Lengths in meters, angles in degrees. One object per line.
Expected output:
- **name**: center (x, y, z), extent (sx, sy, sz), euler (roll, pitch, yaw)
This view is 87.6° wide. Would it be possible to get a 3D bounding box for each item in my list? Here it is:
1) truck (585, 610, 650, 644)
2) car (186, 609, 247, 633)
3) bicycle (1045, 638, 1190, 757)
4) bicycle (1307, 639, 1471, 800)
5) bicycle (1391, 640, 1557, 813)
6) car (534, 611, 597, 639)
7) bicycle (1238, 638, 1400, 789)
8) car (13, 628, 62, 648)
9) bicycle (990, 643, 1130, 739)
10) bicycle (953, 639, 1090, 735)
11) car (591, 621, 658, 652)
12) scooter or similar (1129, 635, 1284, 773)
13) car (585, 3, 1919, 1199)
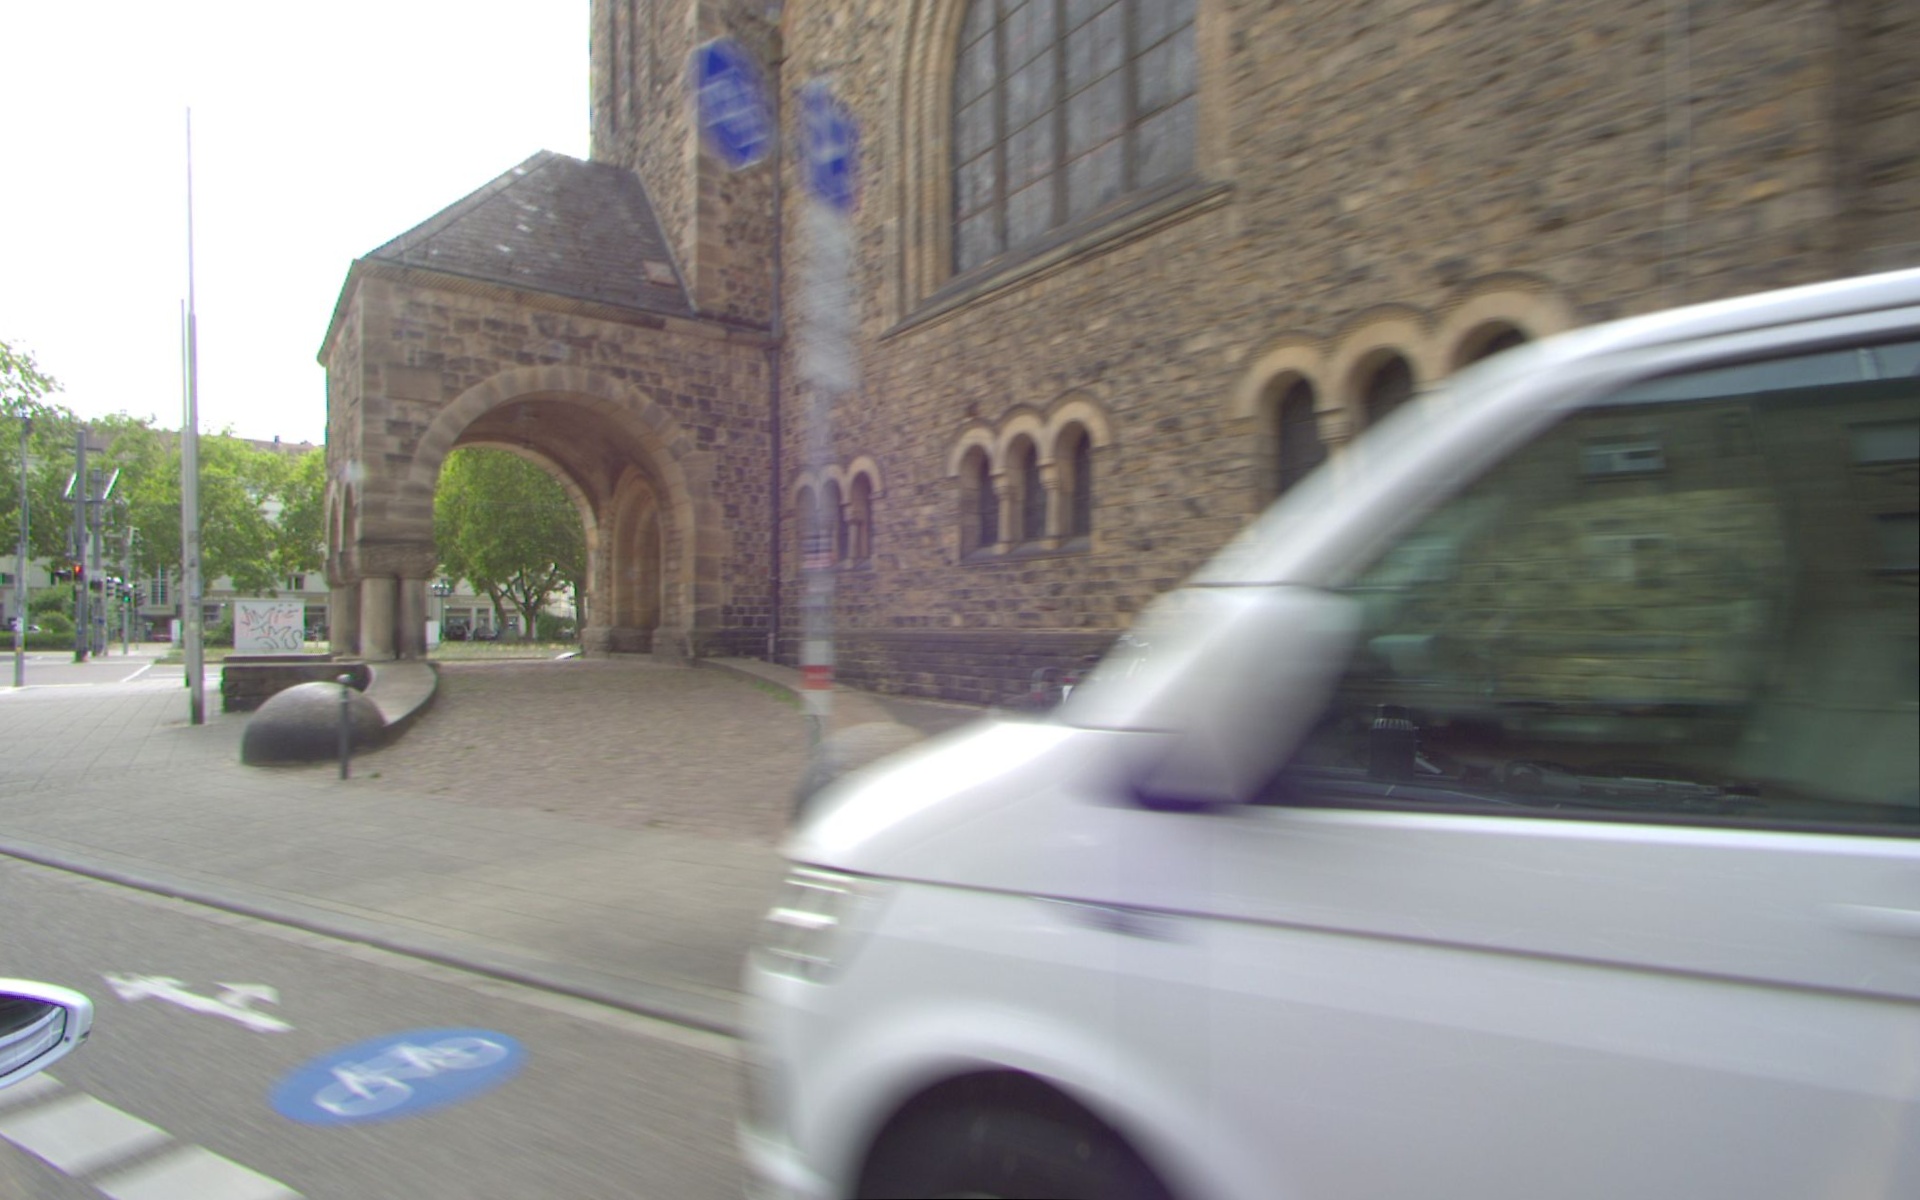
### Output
- **truck**: center (-27.180, 2.122, 79.363), extent (3.044, 2.611, 6.462), euler (1, -1, -37)
- **car**: center (-60.434, 1.737, 81.492), extent (3.951, 1.907, 1.844), euler (1, -1, -37)
- **bicycle**: center (1.684, 0.977, 10.529), extent (1.764, 1.126, 0.541), euler (1, -1, -43)
- **bicycle**: center (3.464, 0.893, 8.008), extent (1.757, 1.126, 0.541), euler (1, -1, -43)
- **bicycle**: center (3.901, 0.883, 7.534), extent (1.764, 1.126, 0.541), euler (1, -1, -43)
- **car**: center (-38.723, 2.468, 98.272), extent (5.276, 2.617, 2.480), euler (1, -3, -39)
- **bicycle**: center (3.075, 0.903, 8.481), extent (1.764, 1.126, 0.541), euler (1, -1, -43)
- **car**: center (-72.668, 2.984, 78.895), extent (3.945, 1.522, 1.989), euler (-1, -1, 34)
- **bicycle**: center (1.160, 0.989, 11.323), extent (1.764, 0.970, 0.541), euler (1, -1, -43)
- **bicycle**: center (0.761, 0.996, 11.864), extent (1.763, 0.970, 0.541), euler (-2, 1, -43)
- **car**: center (-29.878, 3.247, 89.366), extent (5.276, 2.617, 2.163), euler (1, -3, -39)
- **scooter or similar**: center (2.352, 0.925, 9.427), extent (1.764, 1.155, 0.541), euler (1, 0, -43)
- **car**: center (1.987, 0.443, 1.586), extent (5.043, 2.056, 2.013), euler (0, 0, 28)
